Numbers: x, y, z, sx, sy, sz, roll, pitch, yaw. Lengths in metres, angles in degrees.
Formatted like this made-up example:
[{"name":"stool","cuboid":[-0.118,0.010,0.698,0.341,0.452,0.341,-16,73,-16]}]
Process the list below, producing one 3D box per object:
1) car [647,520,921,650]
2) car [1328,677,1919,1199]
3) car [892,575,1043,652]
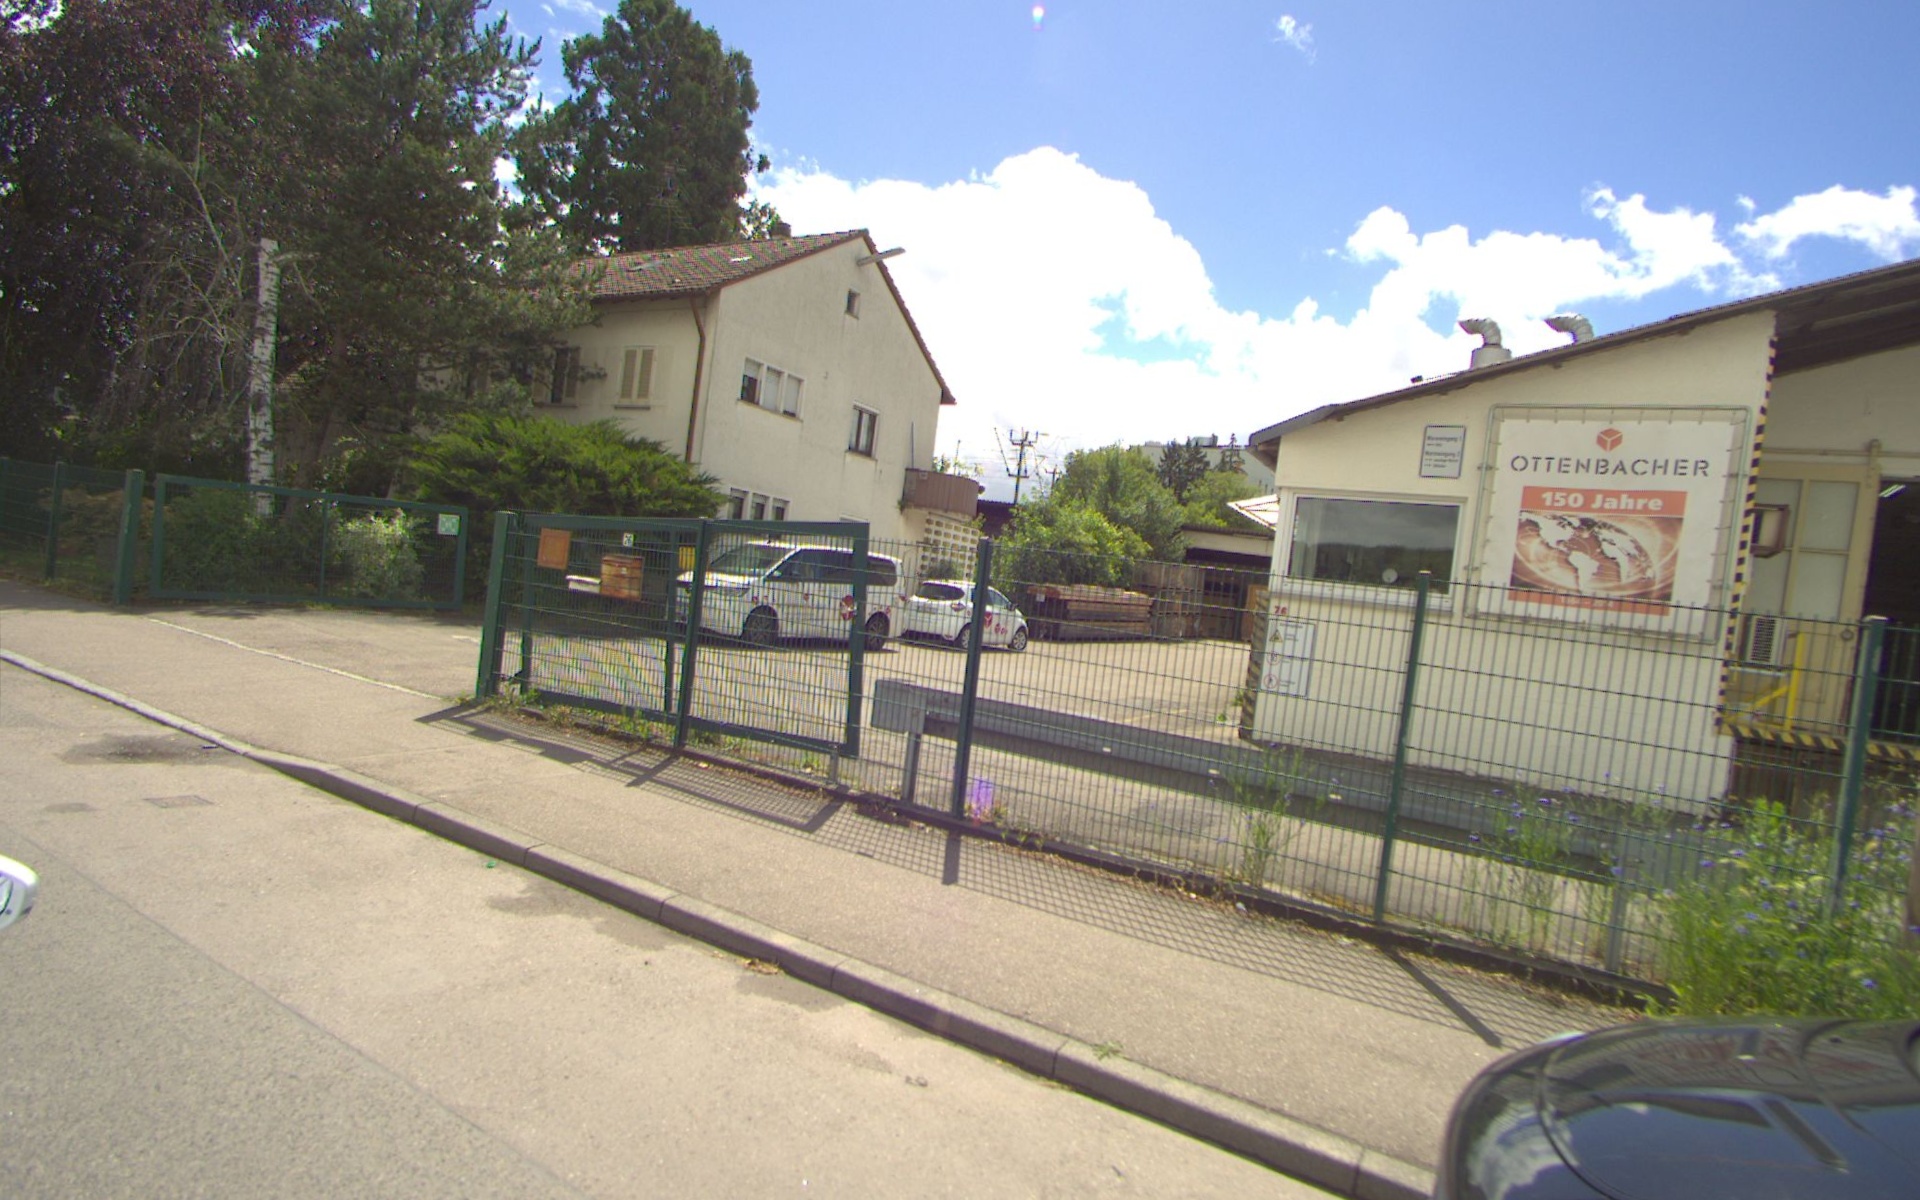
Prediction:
[{"name":"car","cuboid":[-3.091,-0.182,18.830,1.968,1.954,5.016,7,1,34]},{"name":"car","cuboid":[2.531,1.087,1.099,3.784,1.469,1.691,7,0,32]},{"name":"car","cuboid":[0.268,0.374,24.015,1.633,1.543,3.885,7,1,33]}]
